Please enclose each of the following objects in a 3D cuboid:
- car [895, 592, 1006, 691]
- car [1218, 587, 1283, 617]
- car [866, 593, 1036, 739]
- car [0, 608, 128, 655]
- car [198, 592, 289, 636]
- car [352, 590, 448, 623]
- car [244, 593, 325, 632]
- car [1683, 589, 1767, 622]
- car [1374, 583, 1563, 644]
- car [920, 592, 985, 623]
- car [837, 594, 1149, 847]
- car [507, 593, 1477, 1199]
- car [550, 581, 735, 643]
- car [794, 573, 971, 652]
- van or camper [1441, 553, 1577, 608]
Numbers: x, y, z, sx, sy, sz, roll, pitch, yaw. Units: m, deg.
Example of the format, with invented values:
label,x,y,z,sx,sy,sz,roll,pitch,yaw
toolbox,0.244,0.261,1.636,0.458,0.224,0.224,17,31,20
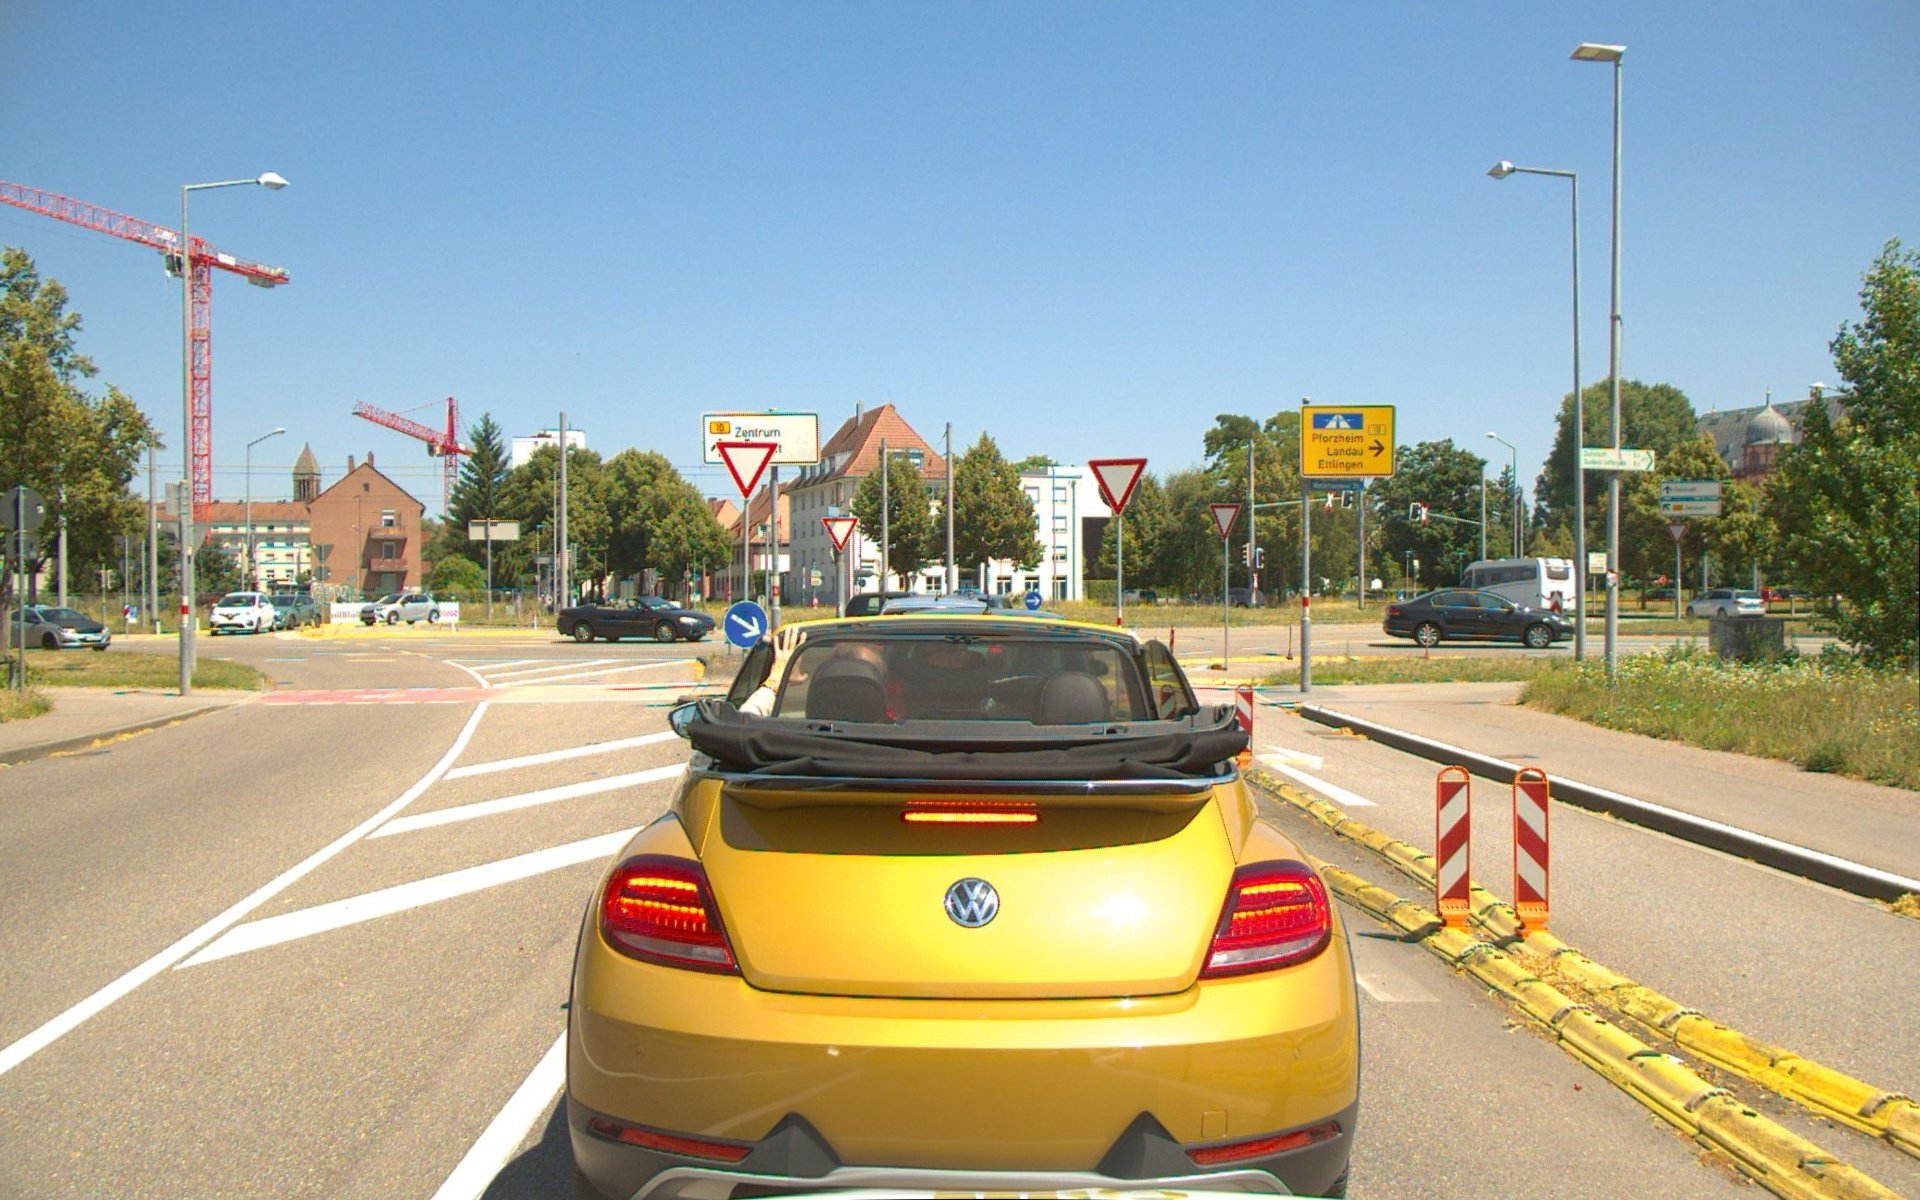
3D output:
label,x,y,z,sx,sy,sz,roll,pitch,yaw
car,-0.172,0.636,27.451,1.701,1.503,3.999,0,0,-1
car,16.059,0.086,91.437,3.174,1.634,1.639,0,0,45
car,-0.116,0.662,18.650,1.701,1.467,3.999,0,0,-1
car,-27.607,0.941,50.284,4.177,1.339,1.822,0,0,22
car,-27.028,0.511,62.520,1.720,1.576,3.999,0,0,-1
car,-26.340,0.296,77.909,1.676,1.526,4.210,0,0,32
car,-27.724,0.502,68.035,1.720,1.576,3.999,0,0,-1
car,34.804,0.238,75.364,1.619,1.449,3.787,0,0,-10
car,12.830,0.321,41.949,4.421,1.472,1.824,0,0,12
car,-0.486,0.433,100.986,3.908,1.870,1.999,0,0,-3
car,0.168,0.704,11.641,1.810,1.467,3.999,0,0,-1
car,0.030,0.714,4.823,1.717,1.447,3.776,0,0,-1
car,-9.047,0.313,47.093,4.835,1.685,2.000,0,0,20
car,-1.829,0.288,39.898,3.902,1.847,2.002,0,0,10
van or camper,28.357,-0.964,85.807,2.471,2.741,7.460,0,0,-23
